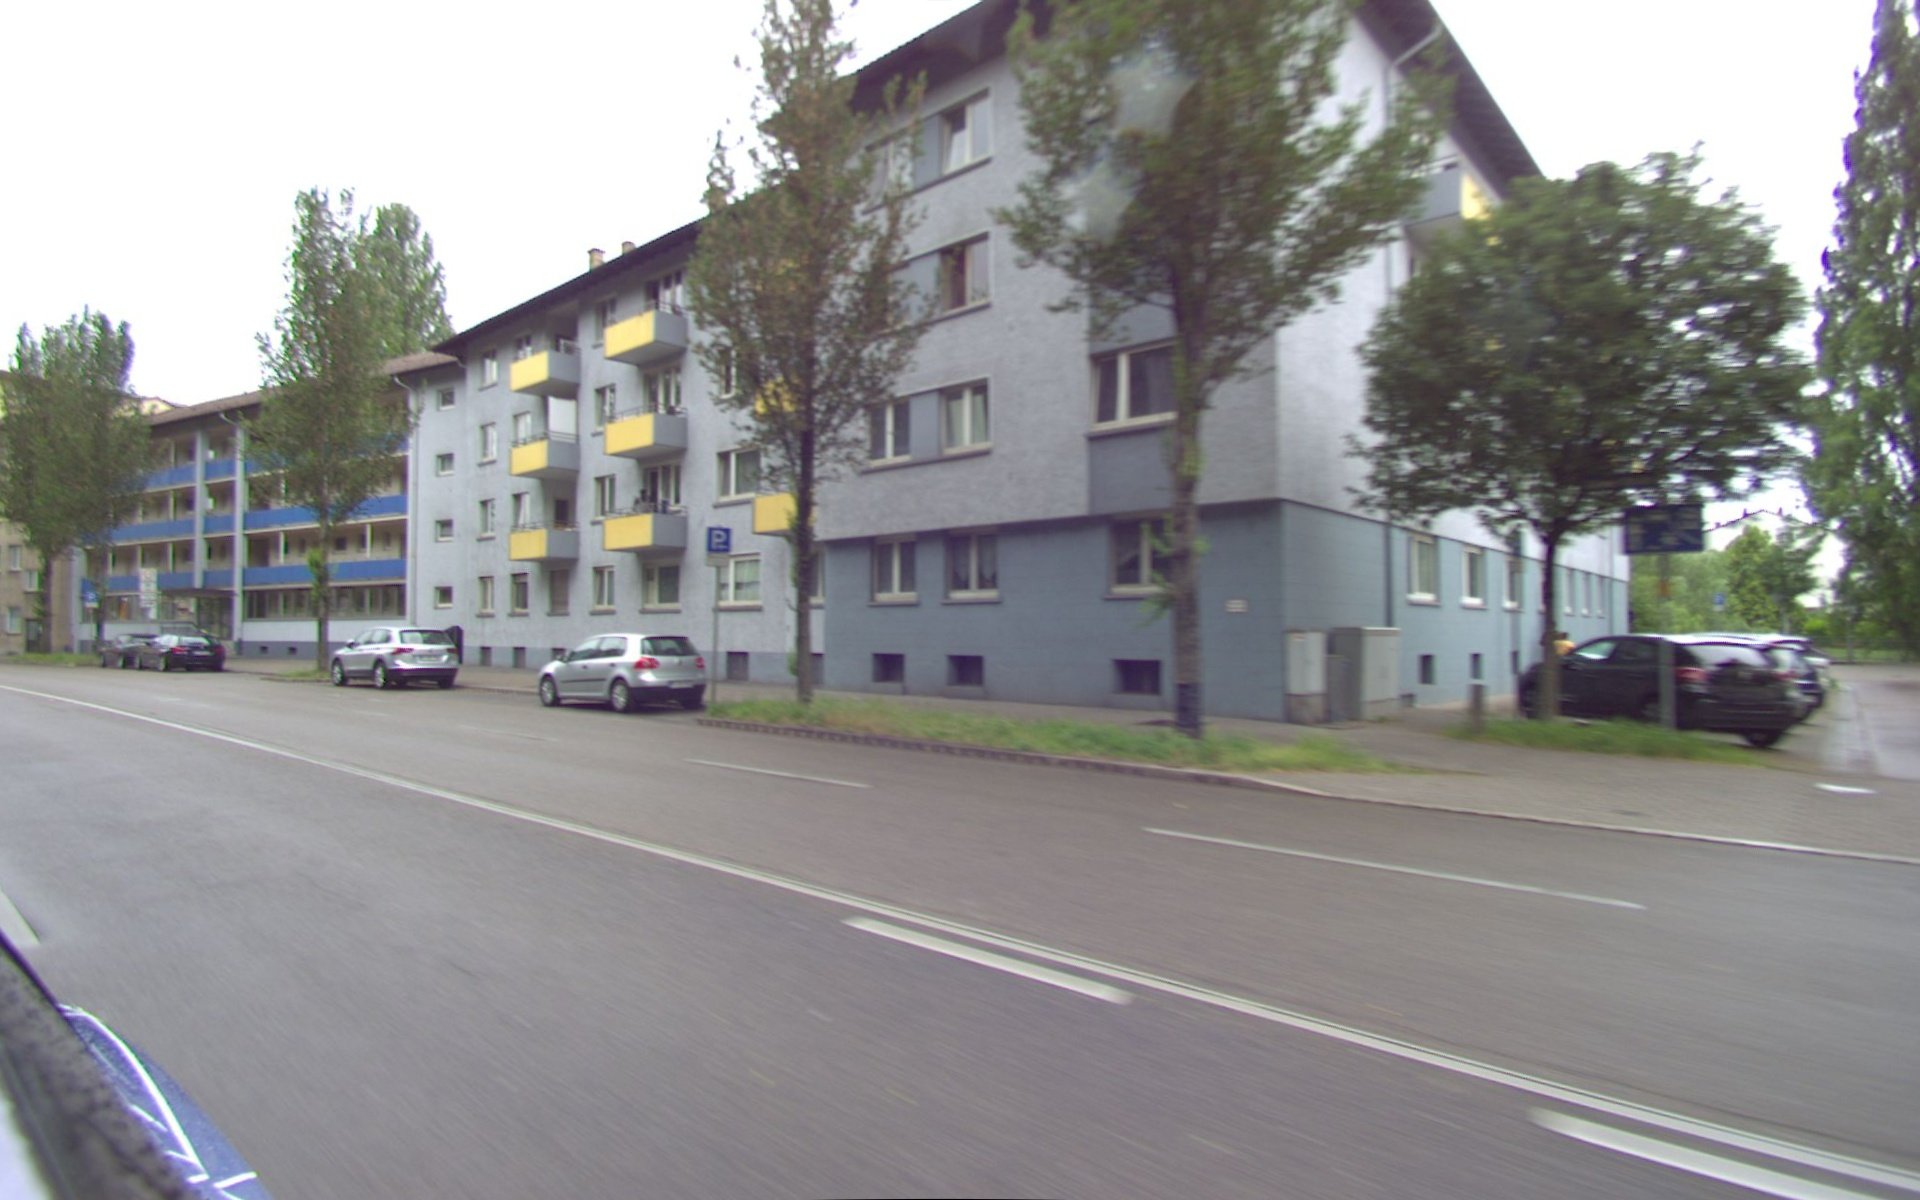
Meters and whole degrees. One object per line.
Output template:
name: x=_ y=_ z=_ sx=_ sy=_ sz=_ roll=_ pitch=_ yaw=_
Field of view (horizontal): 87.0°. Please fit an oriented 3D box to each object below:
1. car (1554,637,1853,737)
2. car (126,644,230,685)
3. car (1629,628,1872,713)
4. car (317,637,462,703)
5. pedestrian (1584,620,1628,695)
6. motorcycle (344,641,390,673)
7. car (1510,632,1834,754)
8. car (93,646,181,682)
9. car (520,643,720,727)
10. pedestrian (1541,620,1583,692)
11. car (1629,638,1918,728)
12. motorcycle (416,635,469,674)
car: x=12.569 y=1.408 z=17.485 sx=1.765 sy=1.505 sz=4.008 roll=1 pitch=-2 yaw=-10
car: x=-29.615 y=2.410 z=38.283 sx=4.884 sy=1.450 sz=1.804 roll=-2 pitch=-4 yaw=37
car: x=18.091 y=1.562 z=23.408 sx=1.789 sy=1.737 sz=4.013 roll=0 pitch=-2 yaw=-21
car: x=-15.273 y=1.825 z=27.011 sx=4.527 sy=1.616 sz=1.747 roll=-2 pitch=-4 yaw=38
pedestrian: x=16.183 y=1.432 z=25.344 sx=0.749 sy=1.830 sz=0.754 roll=-2 pitch=-3 yaw=44
motorcycle: x=-24.519 y=2.341 z=41.822 sx=2.229 sy=1.263 sz=0.670 roll=-2 pitch=0 yaw=32
car: x=10.117 y=1.259 z=14.824 sx=1.687 sy=1.505 sz=4.004 roll=2 pitch=-2 yaw=-5
car: x=-33.912 y=2.626 z=41.686 sx=4.080 sy=1.414 sz=1.764 roll=-2 pitch=-5 yaw=36
car: x=-6.745 y=1.587 z=19.906 sx=4.200 sy=1.464 sz=1.707 roll=-2 pitch=-3 yaw=39
pedestrian: x=15.648 y=1.452 z=26.320 sx=0.749 sy=1.830 sz=0.754 roll=-2 pitch=-3 yaw=44
car: x=15.238 y=1.485 z=19.277 sx=1.845 sy=1.505 sz=4.008 roll=0 pitch=-2 yaw=-10
motorcycle: x=-19.998 y=2.094 z=39.094 sx=2.227 sy=1.424 sz=0.670 roll=-2 pitch=0 yaw=30
